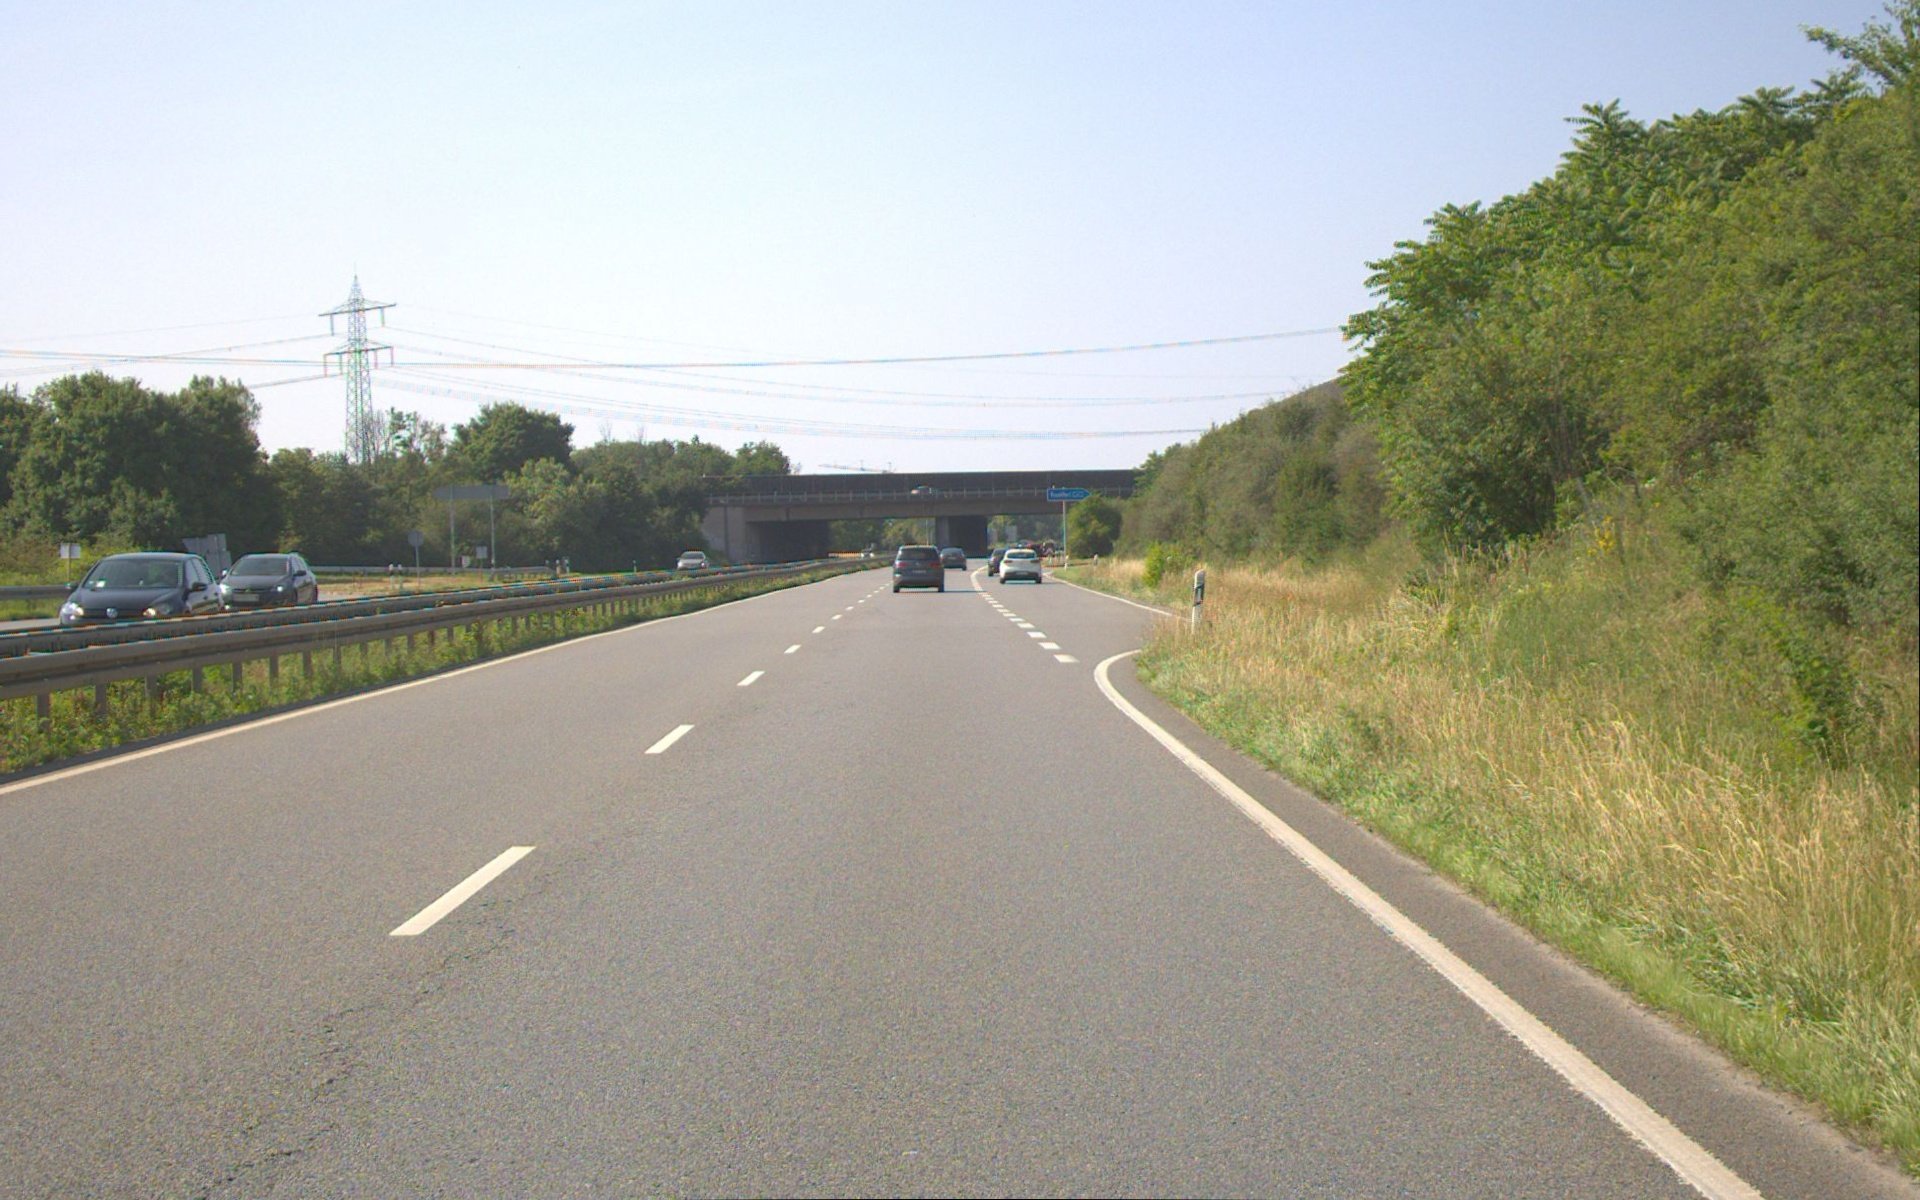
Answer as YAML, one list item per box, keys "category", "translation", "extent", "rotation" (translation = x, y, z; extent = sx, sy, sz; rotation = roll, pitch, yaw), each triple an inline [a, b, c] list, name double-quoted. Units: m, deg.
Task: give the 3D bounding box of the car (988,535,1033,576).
- category: "car"
  translation: [2.137, -1.884, 144.916]
  extent: [1.796, 1.659, 4.000]
  rotation: [1, 1, 2]

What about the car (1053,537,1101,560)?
- category: "car"
  translation: [6.824, -3.004, 200.130]
  extent: [1.903, 1.293, 3.997]
  rotation: [2, 1, 15]

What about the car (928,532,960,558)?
- category: "car"
  translation: [-1.035, -3.552, 222.744]
  extent: [1.850, 1.639, 4.000]
  rotation: [0, 1, 2]

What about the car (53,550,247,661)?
- category: "car"
  translation: [-11.681, 0.046, 49.840]
  extent: [1.814, 1.468, 4.324]
  rotation: [1, 1, -1]

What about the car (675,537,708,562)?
- category: "car"
  translation: [-16.969, -3.202, 217.405]
  extent: [1.700, 1.480, 4.620]
  rotation: [2, 1, -1]

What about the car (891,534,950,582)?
- category: "car"
  translation: [-1.348, -1.473, 119.780]
  extent: [1.850, 1.639, 4.000]
  rotation: [0, 1, 2]

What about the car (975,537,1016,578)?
- category: "car"
  translation: [1.845, -2.254, 179.786]
  extent: [1.993, 2.007, 4.000]
  rotation: [-2, 1, 0]

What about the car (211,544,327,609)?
- category: "car"
  translation: [-16.334, -0.574, 81.488]
  extent: [1.867, 1.429, 4.936]
  rotation: [1, 1, -2]
